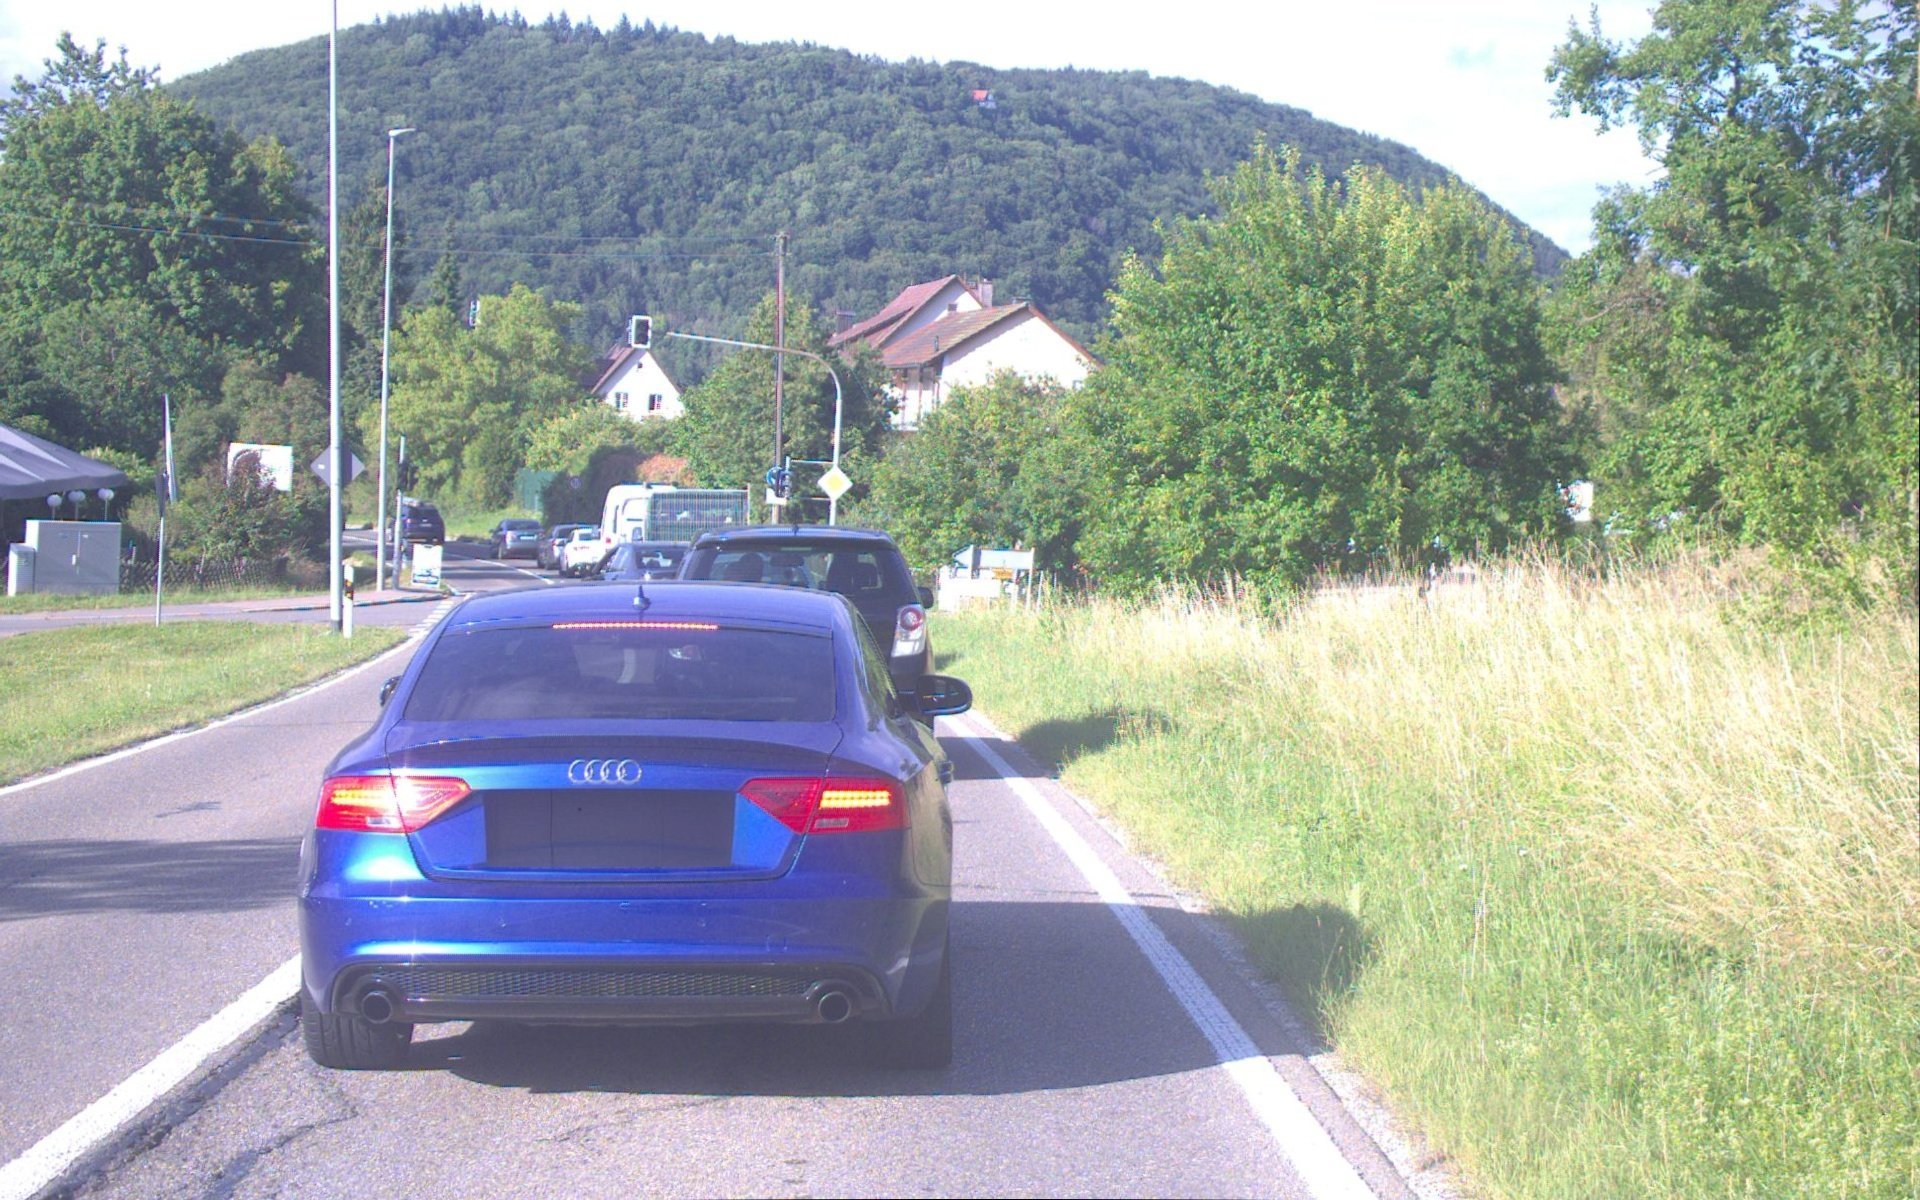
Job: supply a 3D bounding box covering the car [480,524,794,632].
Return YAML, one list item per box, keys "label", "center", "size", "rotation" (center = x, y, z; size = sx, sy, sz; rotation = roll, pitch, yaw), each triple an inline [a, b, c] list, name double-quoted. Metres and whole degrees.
- label: "car"
  center: [-4.580, -0.316, 48.837]
  size: [3.990, 1.437, 1.918]
  rotation: [1, 0, 18]

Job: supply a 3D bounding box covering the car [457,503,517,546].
- label: "car"
  center: [-17.048, -2.714, 123.780]
  size: [1.697, 1.485, 3.528]
  rotation: [1, 0, -15]

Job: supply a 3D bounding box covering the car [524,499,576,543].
- label: "car"
  center: [-14.859, -2.847, 124.510]
  size: [1.697, 1.485, 3.528]
  rotation: [1, 0, -9]

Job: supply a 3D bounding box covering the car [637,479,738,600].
- label: "car"
  center: [-5.186, -1.131, 65.043]
  size: [1.746, 2.188, 4.001]
  rotation: [1, 0, -6]

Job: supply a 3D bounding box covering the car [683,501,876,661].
- label: "car"
  center: [-1.938, -0.212, 38.073]
  size: [1.805, 1.634, 4.463]
  rotation: [1, 0, 1]

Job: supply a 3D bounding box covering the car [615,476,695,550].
- label: "car"
  center: [-7.113, -1.997, 79.925]
  size: [1.746, 1.634, 4.001]
  rotation: [1, 0, -6]

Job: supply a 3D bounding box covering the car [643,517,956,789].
- label: "car"
  center: [-0.988, 0.311, 23.092]
  size: [1.746, 1.634, 4.000]
  rotation: [1, 0, 2]

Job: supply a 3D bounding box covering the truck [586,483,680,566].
- label: "truck"
  center: [-8.147, -1.847, 85.283]
  size: [1.697, 1.947, 5.924]
  rotation: [1, 0, -11]

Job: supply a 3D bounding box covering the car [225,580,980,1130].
- label: "car"
  center: [-0.900, 0.632, 10.721]
  size: [1.795, 1.383, 4.000]
  rotation: [0, 0, 2]

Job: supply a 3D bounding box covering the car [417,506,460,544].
- label: "car"
  center: [-22.649, -3.244, 149.245]
  size: [1.625, 1.571, 3.680]
  rotation: [1, 0, -12]
